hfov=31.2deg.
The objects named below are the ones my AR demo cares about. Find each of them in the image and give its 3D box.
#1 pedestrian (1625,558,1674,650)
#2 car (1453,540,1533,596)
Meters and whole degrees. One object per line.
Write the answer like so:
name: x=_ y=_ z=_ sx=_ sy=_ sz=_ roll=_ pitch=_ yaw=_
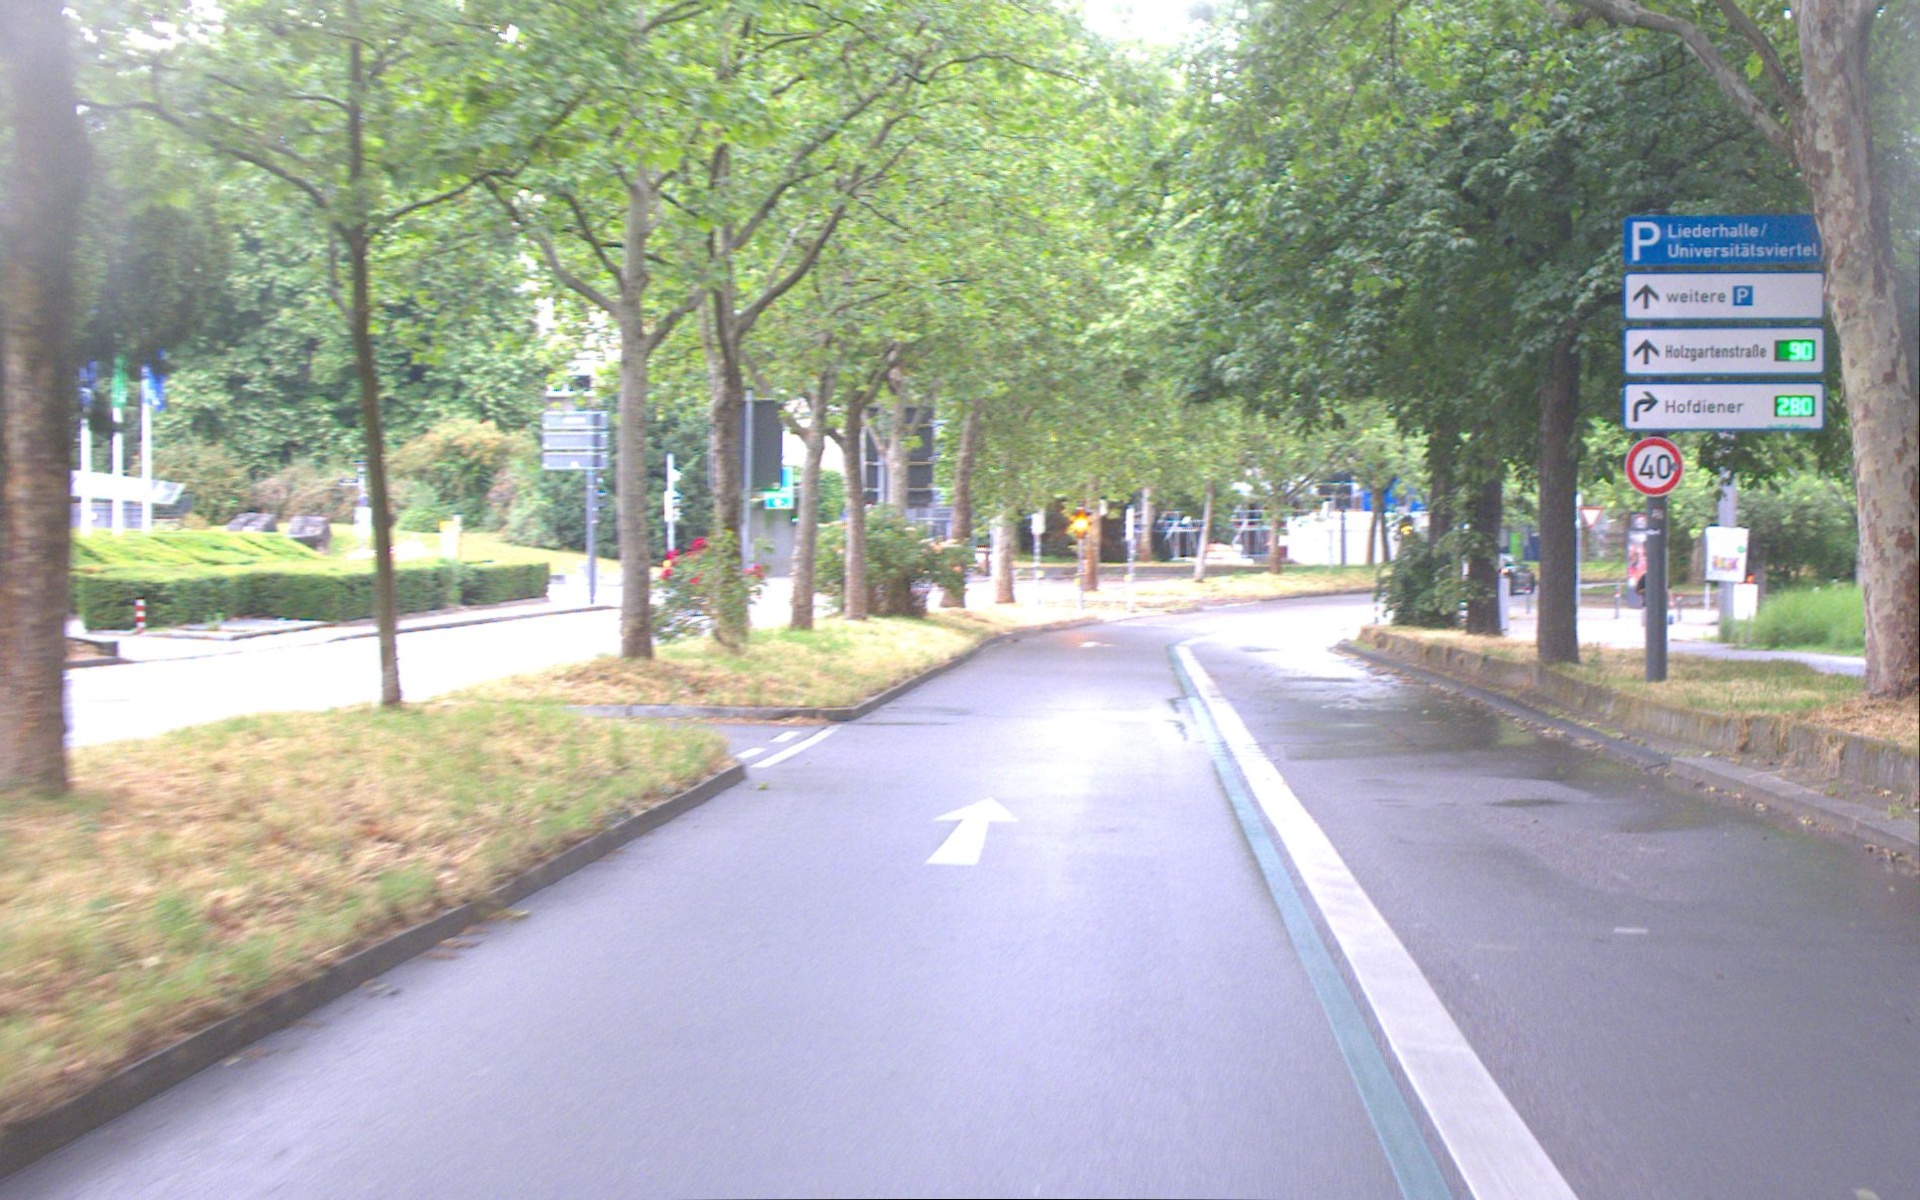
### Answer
pedestrian: x=12.371 y=0.063 z=61.708 sx=0.703 sy=1.633 sz=0.935 roll=1 pitch=1 yaw=2
car: x=19.587 y=-1.177 z=126.312 sx=1.996 sy=2.007 sz=3.995 roll=1 pitch=1 yaw=22
